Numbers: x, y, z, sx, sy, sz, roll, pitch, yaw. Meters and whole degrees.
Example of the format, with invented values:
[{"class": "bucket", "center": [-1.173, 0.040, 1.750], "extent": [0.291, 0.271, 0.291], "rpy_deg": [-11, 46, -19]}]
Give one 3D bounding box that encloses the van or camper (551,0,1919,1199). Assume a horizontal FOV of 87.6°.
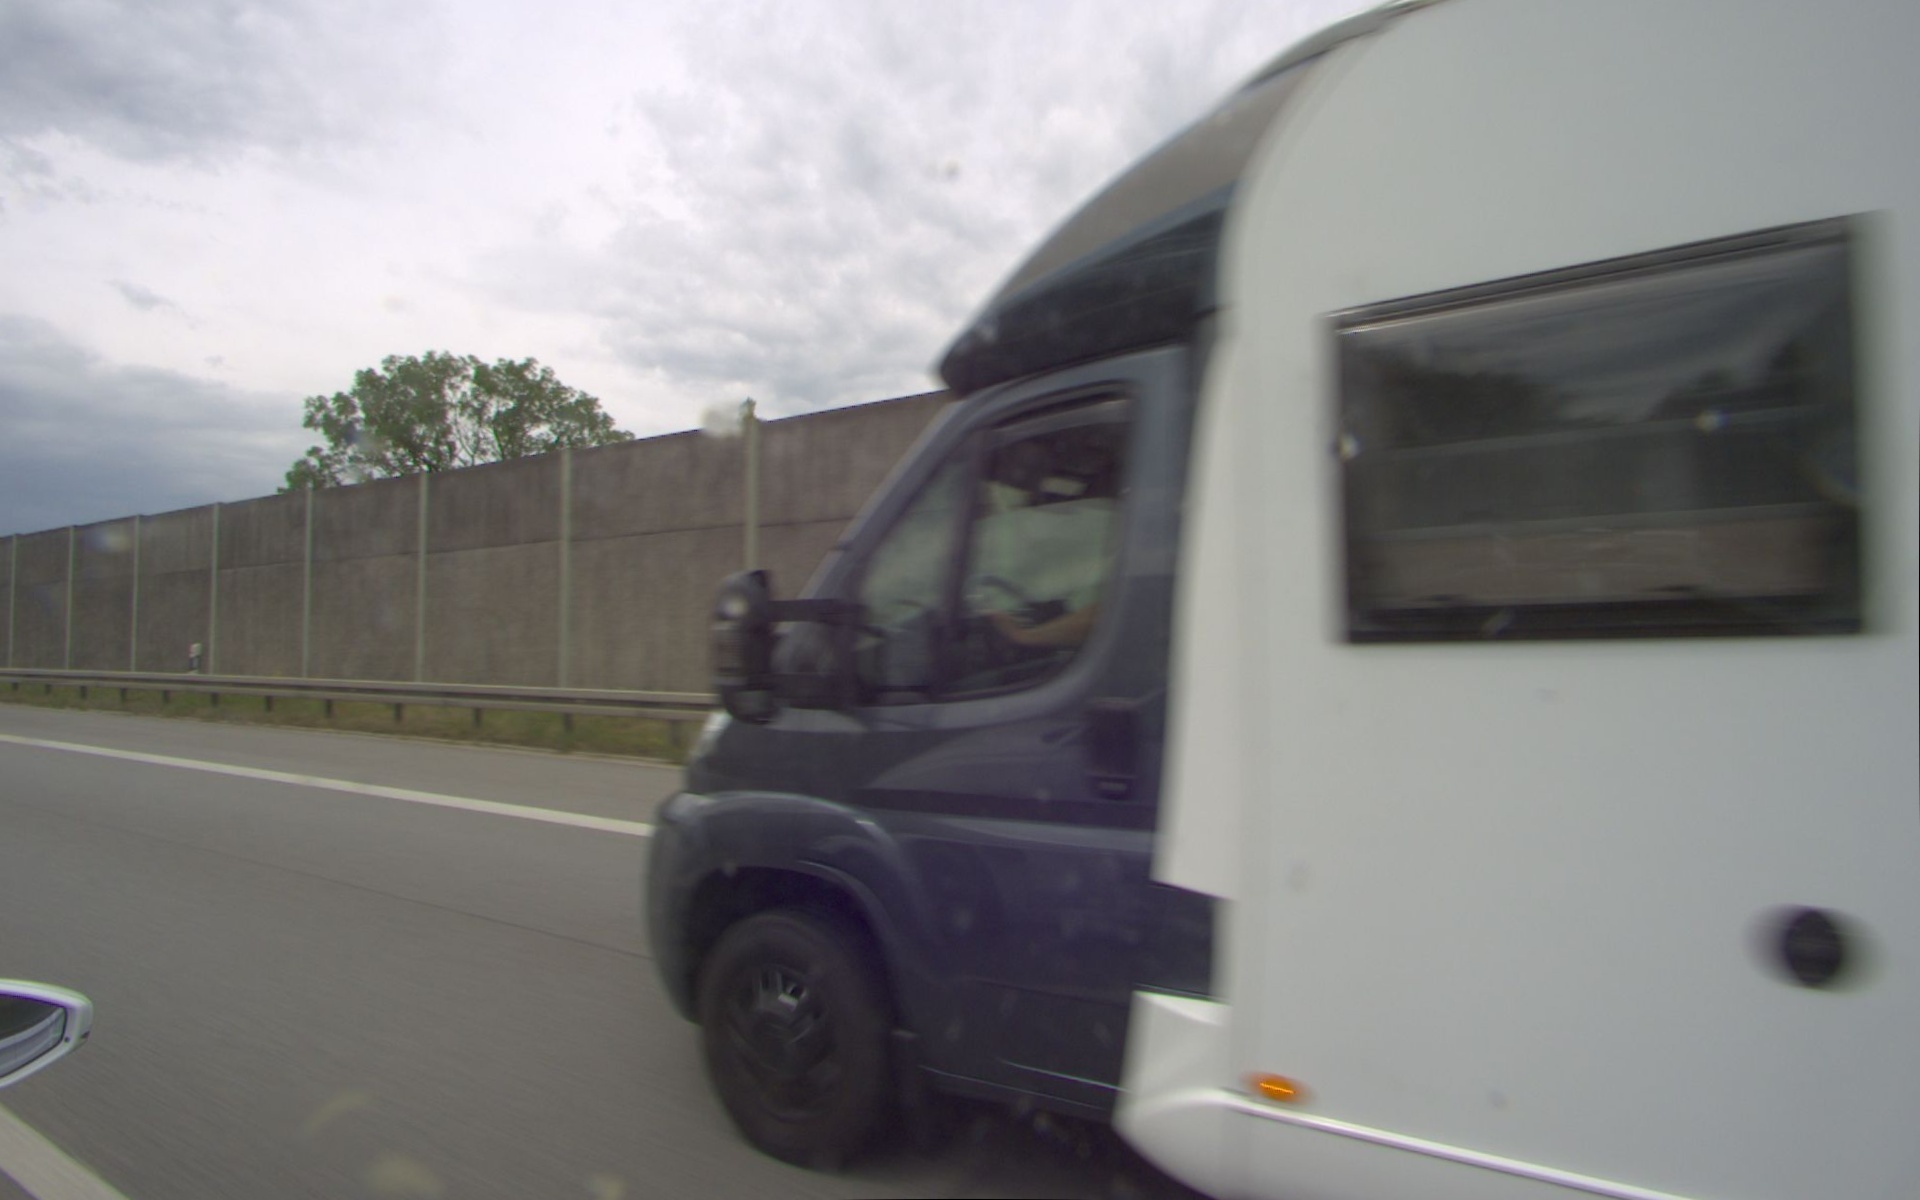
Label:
[{"class": "van or camper", "center": [2.445, 0.100, 2.031], "extent": [7.123, 2.731, 2.425], "rpy_deg": [-1, -2, 33]}]
